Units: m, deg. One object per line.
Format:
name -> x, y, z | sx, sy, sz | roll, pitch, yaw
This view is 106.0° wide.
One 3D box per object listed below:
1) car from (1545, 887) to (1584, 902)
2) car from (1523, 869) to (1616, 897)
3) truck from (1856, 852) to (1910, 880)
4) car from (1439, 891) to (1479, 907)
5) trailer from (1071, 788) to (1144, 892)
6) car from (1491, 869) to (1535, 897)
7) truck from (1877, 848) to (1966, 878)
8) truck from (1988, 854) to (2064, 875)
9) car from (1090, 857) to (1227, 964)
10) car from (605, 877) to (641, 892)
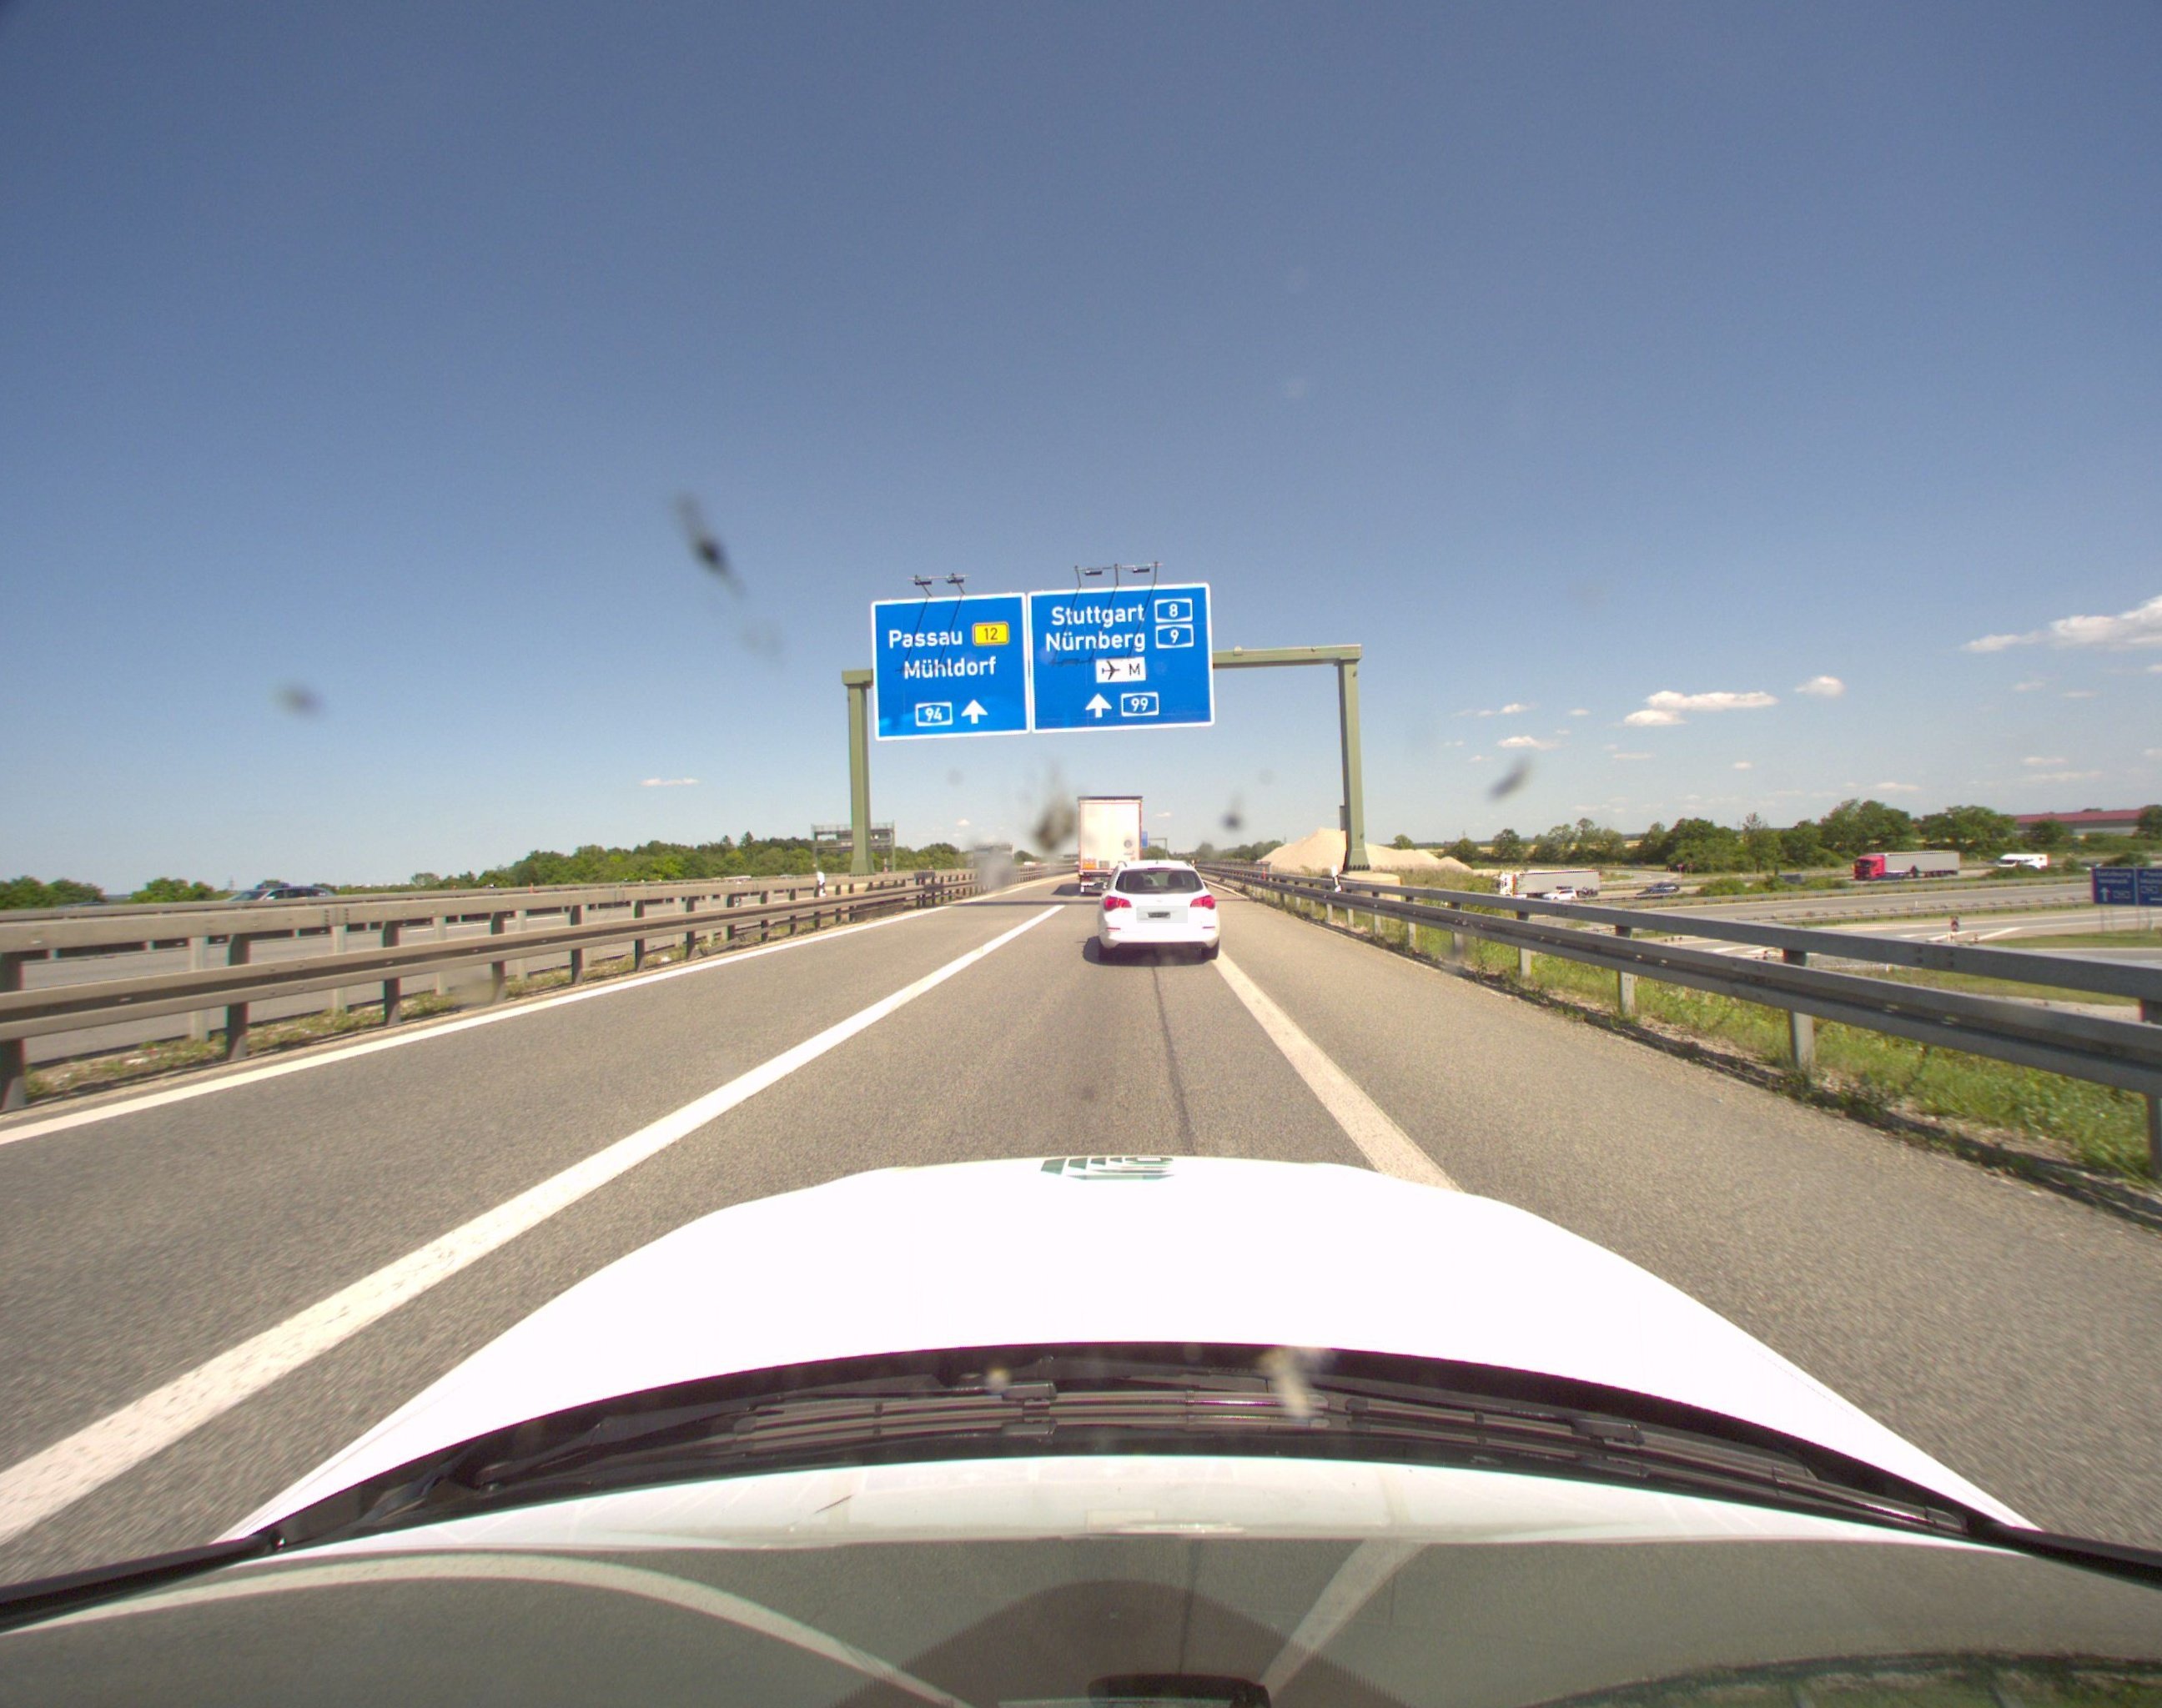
car -> 68.971, 5.788, 116.191 | 4.389, 2.014, 1.996 | 0, -1, -6
car -> 71.770, 4.266, 119.730 | 12.954, 3.964, 2.477 | 0, -1, -6
truck -> 126.588, 1.882, 128.550 | 5.933, 4.065, 2.862 | -3, -1, -7
car -> 50.601, 5.959, 109.023 | 4.389, 2.014, 1.996 | 0, -1, -6
trailer -> 1.362, -0.439, 38.305 | 2.900, 4.146, 11.265 | -1, -1, 3
car -> 62.909, 4.247, 118.694 | 5.136, 3.964, 2.477 | 0, -1, -6
truck -> 133.660, 1.481, 129.517 | 12.526, 4.065, 2.862 | -3, -1, -8
truck -> 154.141, 1.687, 132.863 | 10.007, 3.060, 3.143 | -1, -1, -8
car -> 1.196, 0.801, 13.294 | 1.846, 1.443, 4.376 | -1, -1, 4
car -> -46.236, 3.083, 82.267 | 1.571, 1.354, 3.345 | -2, -3, 3
